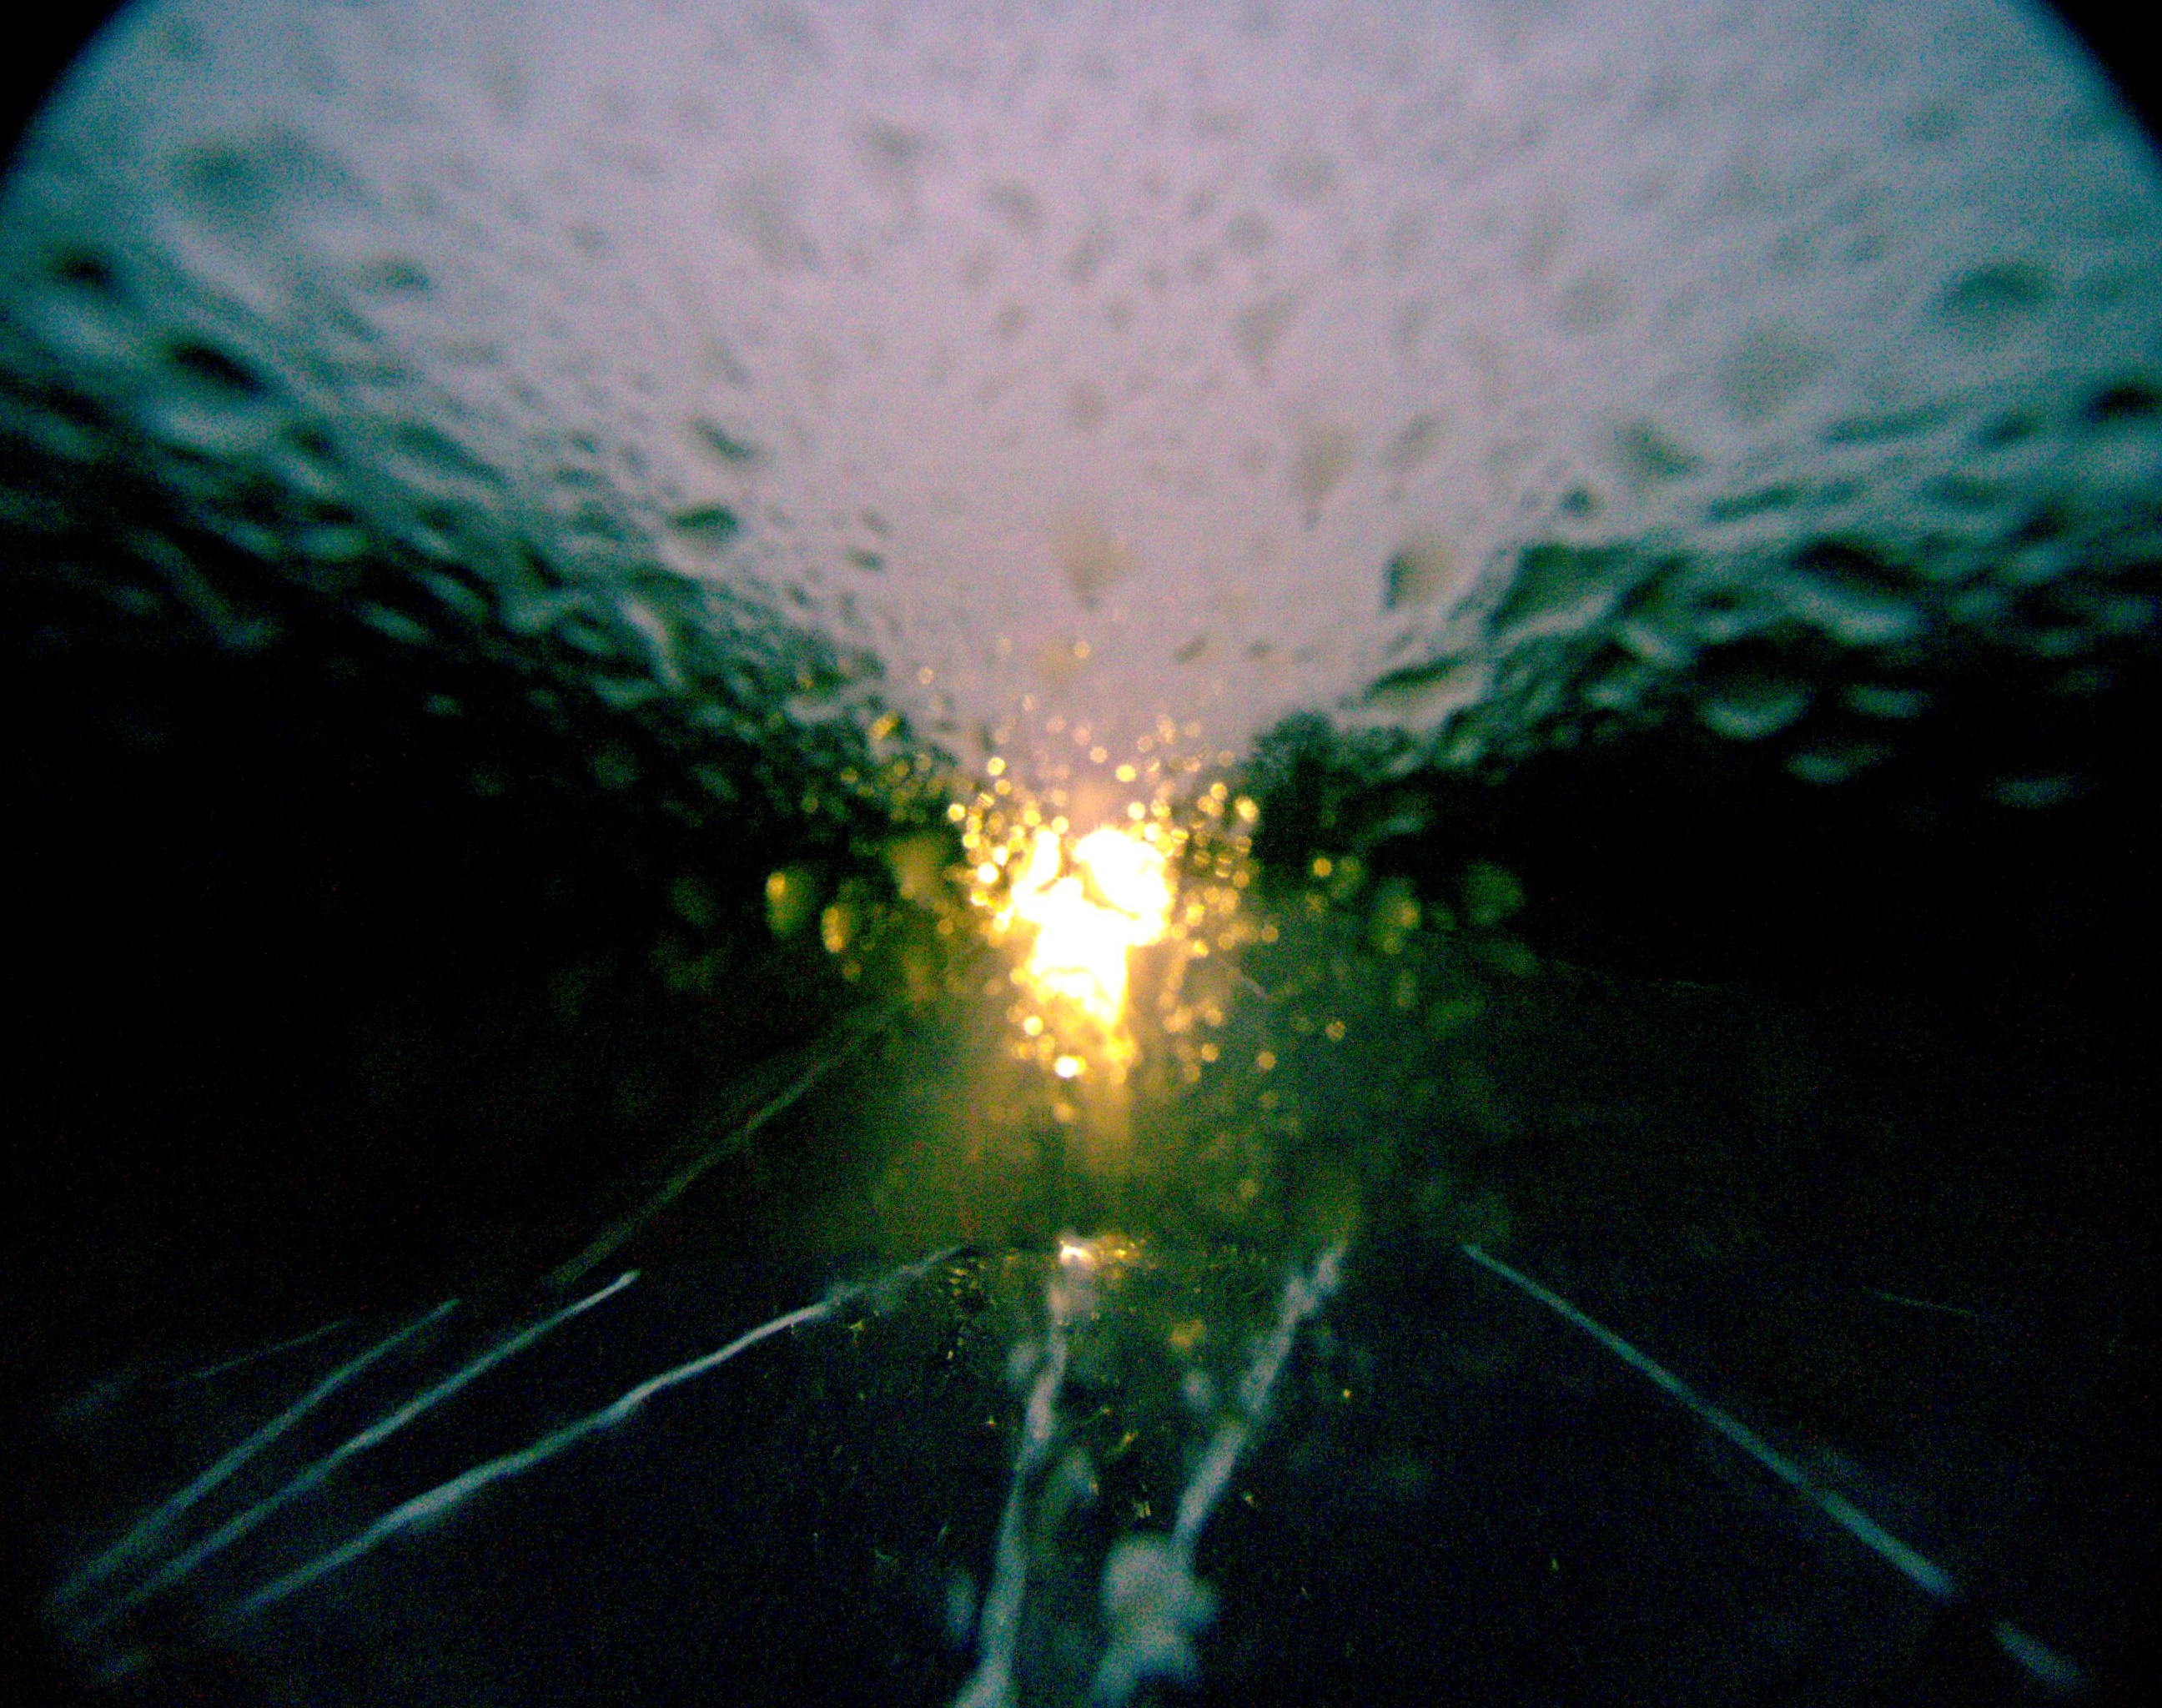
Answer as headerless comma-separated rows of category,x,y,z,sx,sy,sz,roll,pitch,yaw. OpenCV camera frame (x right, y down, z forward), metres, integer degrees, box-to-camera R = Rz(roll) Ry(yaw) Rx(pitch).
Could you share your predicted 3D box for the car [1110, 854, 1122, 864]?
car,5.441,0.700,118.913,1.702,1.487,5.664,-2,0,1
